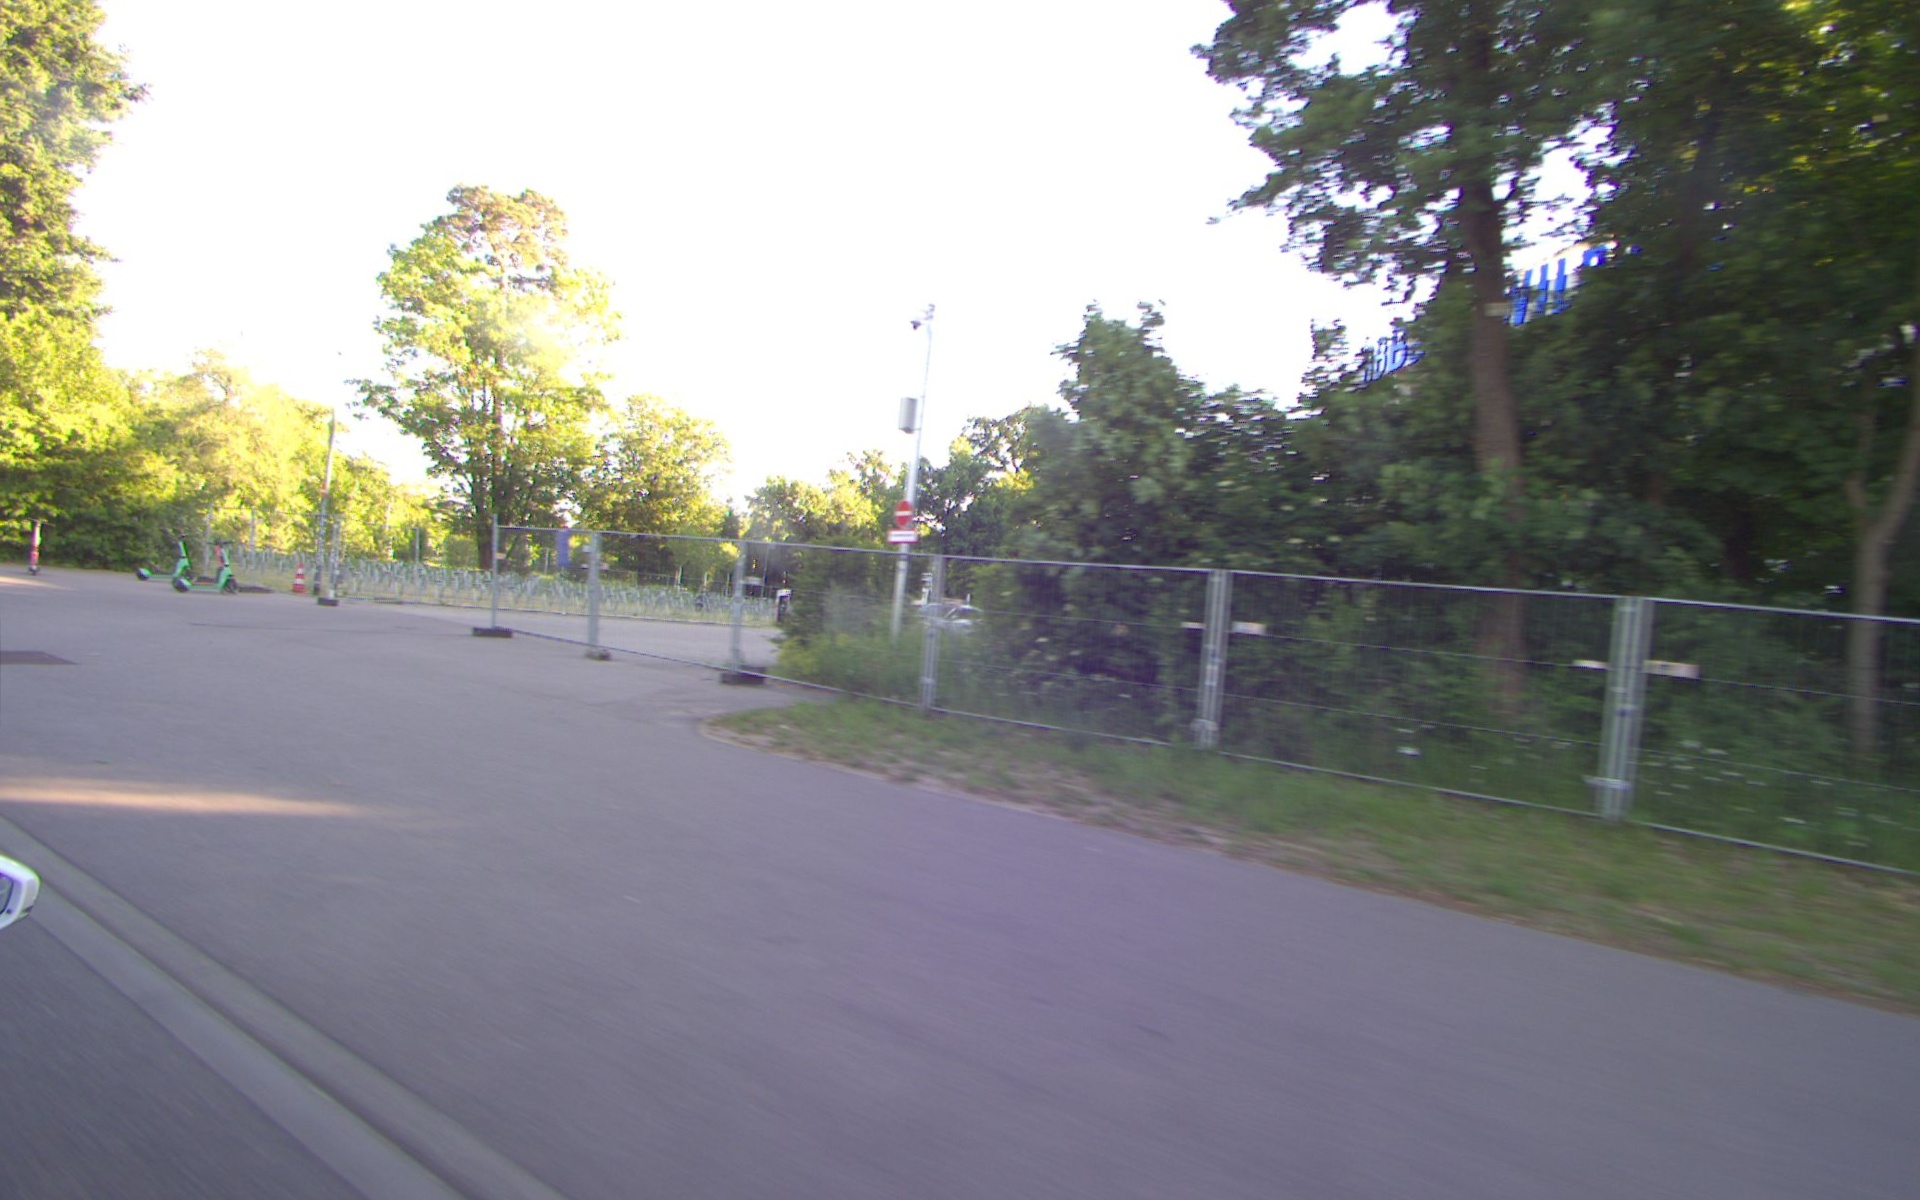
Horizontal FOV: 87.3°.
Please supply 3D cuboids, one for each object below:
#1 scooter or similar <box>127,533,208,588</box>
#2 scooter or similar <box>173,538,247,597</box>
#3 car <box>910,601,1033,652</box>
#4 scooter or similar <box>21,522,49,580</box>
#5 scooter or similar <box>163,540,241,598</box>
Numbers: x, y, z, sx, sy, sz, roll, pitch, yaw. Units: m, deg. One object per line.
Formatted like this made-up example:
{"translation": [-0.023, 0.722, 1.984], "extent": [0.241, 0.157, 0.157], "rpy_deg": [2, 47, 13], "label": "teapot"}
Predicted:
{"translation": [-19.311, -0.959, 24.548], "extent": [1.426, 1.181, 0.391], "rpy_deg": [5, 0, -28], "label": "scooter or similar"}
{"translation": [-16.929, -0.729, 22.738], "extent": [1.235, 1.181, 0.391], "rpy_deg": [6, 0, -32], "label": "scooter or similar"}
{"translation": [0.462, 0.931, 34.807], "extent": [1.795, 1.395, 4.364], "rpy_deg": [5, -1, 41], "label": "car"}
{"translation": [-20.520, -1.096, 22.304], "extent": [1.389, 1.186, 0.280], "rpy_deg": [7, 2, 42], "label": "scooter or similar"}
{"translation": [-16.679, -0.665, 22.154], "extent": [0.389, 1.161, 1.263], "rpy_deg": [4, 0, 40], "label": "scooter or similar"}
